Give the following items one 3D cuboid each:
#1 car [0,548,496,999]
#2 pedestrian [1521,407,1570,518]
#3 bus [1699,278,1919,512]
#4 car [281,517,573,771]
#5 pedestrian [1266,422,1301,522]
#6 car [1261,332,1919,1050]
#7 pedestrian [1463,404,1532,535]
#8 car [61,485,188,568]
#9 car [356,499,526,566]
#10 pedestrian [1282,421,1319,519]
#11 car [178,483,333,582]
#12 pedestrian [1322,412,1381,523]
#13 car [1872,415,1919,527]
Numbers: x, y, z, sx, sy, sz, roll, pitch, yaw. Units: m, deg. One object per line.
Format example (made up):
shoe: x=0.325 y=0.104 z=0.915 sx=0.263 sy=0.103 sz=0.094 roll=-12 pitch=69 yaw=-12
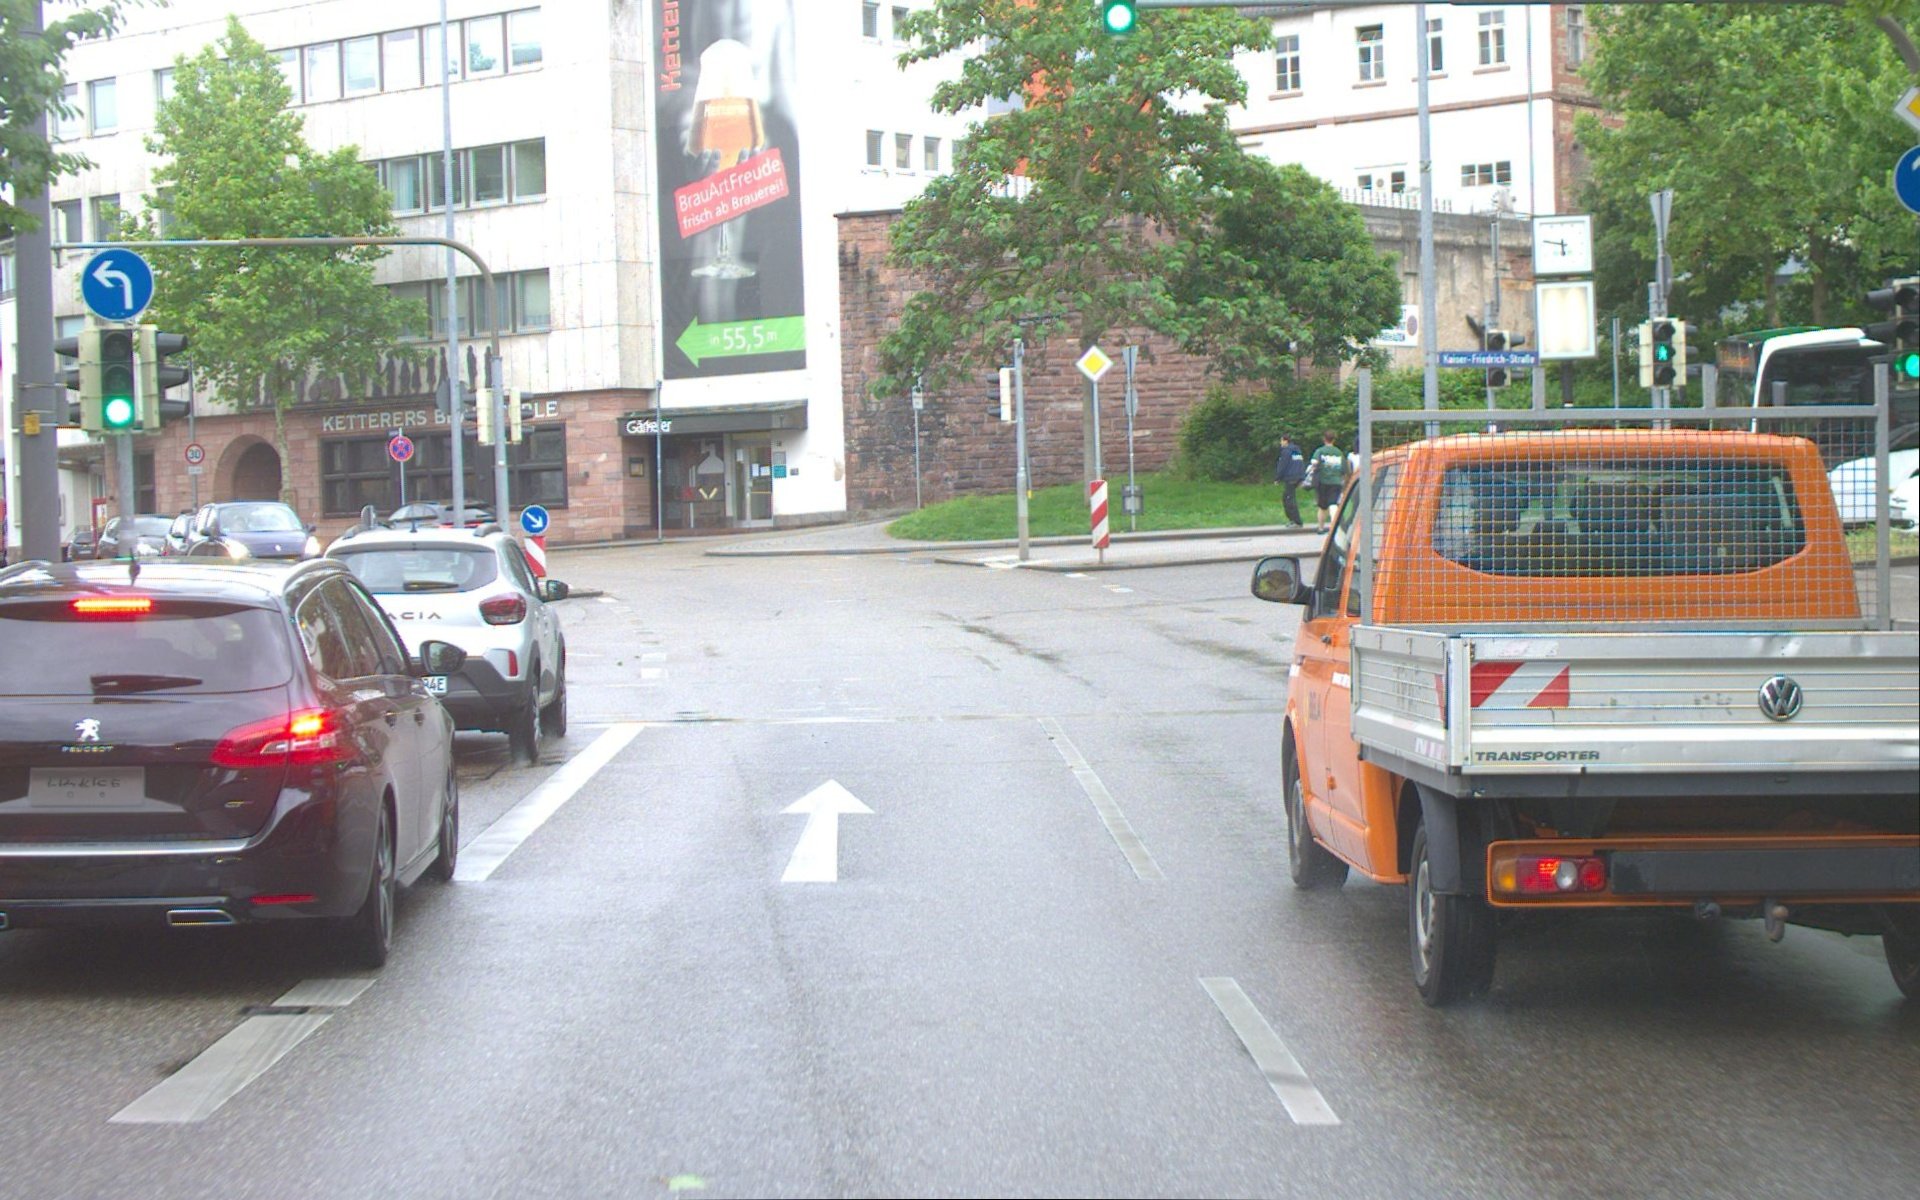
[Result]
car: x=-2.950 y=0.538 z=13.413 sx=1.799 sy=1.429 sz=4.397 roll=-1 pitch=1 yaw=-2
pedestrian: x=9.174 y=-2.164 z=53.887 sx=0.556 sy=1.699 sz=0.529 roll=-4 pitch=3 yaw=-4
bus: x=15.872 y=-3.095 z=49.898 sx=9.626 sy=3.205 sz=2.706 roll=-2 pitch=3 yaw=-3
car: x=-3.461 y=0.226 z=22.846 sx=1.536 sy=1.456 sz=3.630 roll=-2 pitch=2 yaw=-3
pedestrian: x=5.822 y=-2.301 z=61.884 sx=0.597 sy=1.775 sz=0.656 roll=0 pitch=0 yaw=9
car: x=2.415 y=0.203 z=12.821 sx=2.102 sy=2.082 sz=5.542 roll=-1 pitch=1 yaw=0
pedestrian: x=8.440 y=-2.047 z=53.969 sx=0.786 sy=2.006 sz=0.587 roll=-1 pitch=4 yaw=35
car: x=-17.422 y=-1.546 z=71.533 sx=1.755 sy=1.609 sz=4.212 roll=-4 pitch=3 yaw=-24
car: x=-11.315 y=-1.446 z=74.744 sx=1.790 sy=1.398 sz=4.633 roll=0 pitch=0 yaw=-35
pedestrian: x=5.659 y=-2.160 z=57.170 sx=0.566 sy=1.610 sz=0.691 roll=0 pitch=0 yaw=2
car: x=-12.542 y=-1.220 z=61.066 sx=1.755 sy=1.609 sz=4.212 roll=-4 pitch=3 yaw=-24
pedestrian: x=6.510 y=-2.193 z=57.180 sx=0.879 sy=1.825 sz=0.729 roll=-1 pitch=1 yaw=1
car: x=14.356 y=-1.808 z=46.541 sx=3.557 sy=1.446 sz=1.590 roll=-2 pitch=4 yaw=-3
